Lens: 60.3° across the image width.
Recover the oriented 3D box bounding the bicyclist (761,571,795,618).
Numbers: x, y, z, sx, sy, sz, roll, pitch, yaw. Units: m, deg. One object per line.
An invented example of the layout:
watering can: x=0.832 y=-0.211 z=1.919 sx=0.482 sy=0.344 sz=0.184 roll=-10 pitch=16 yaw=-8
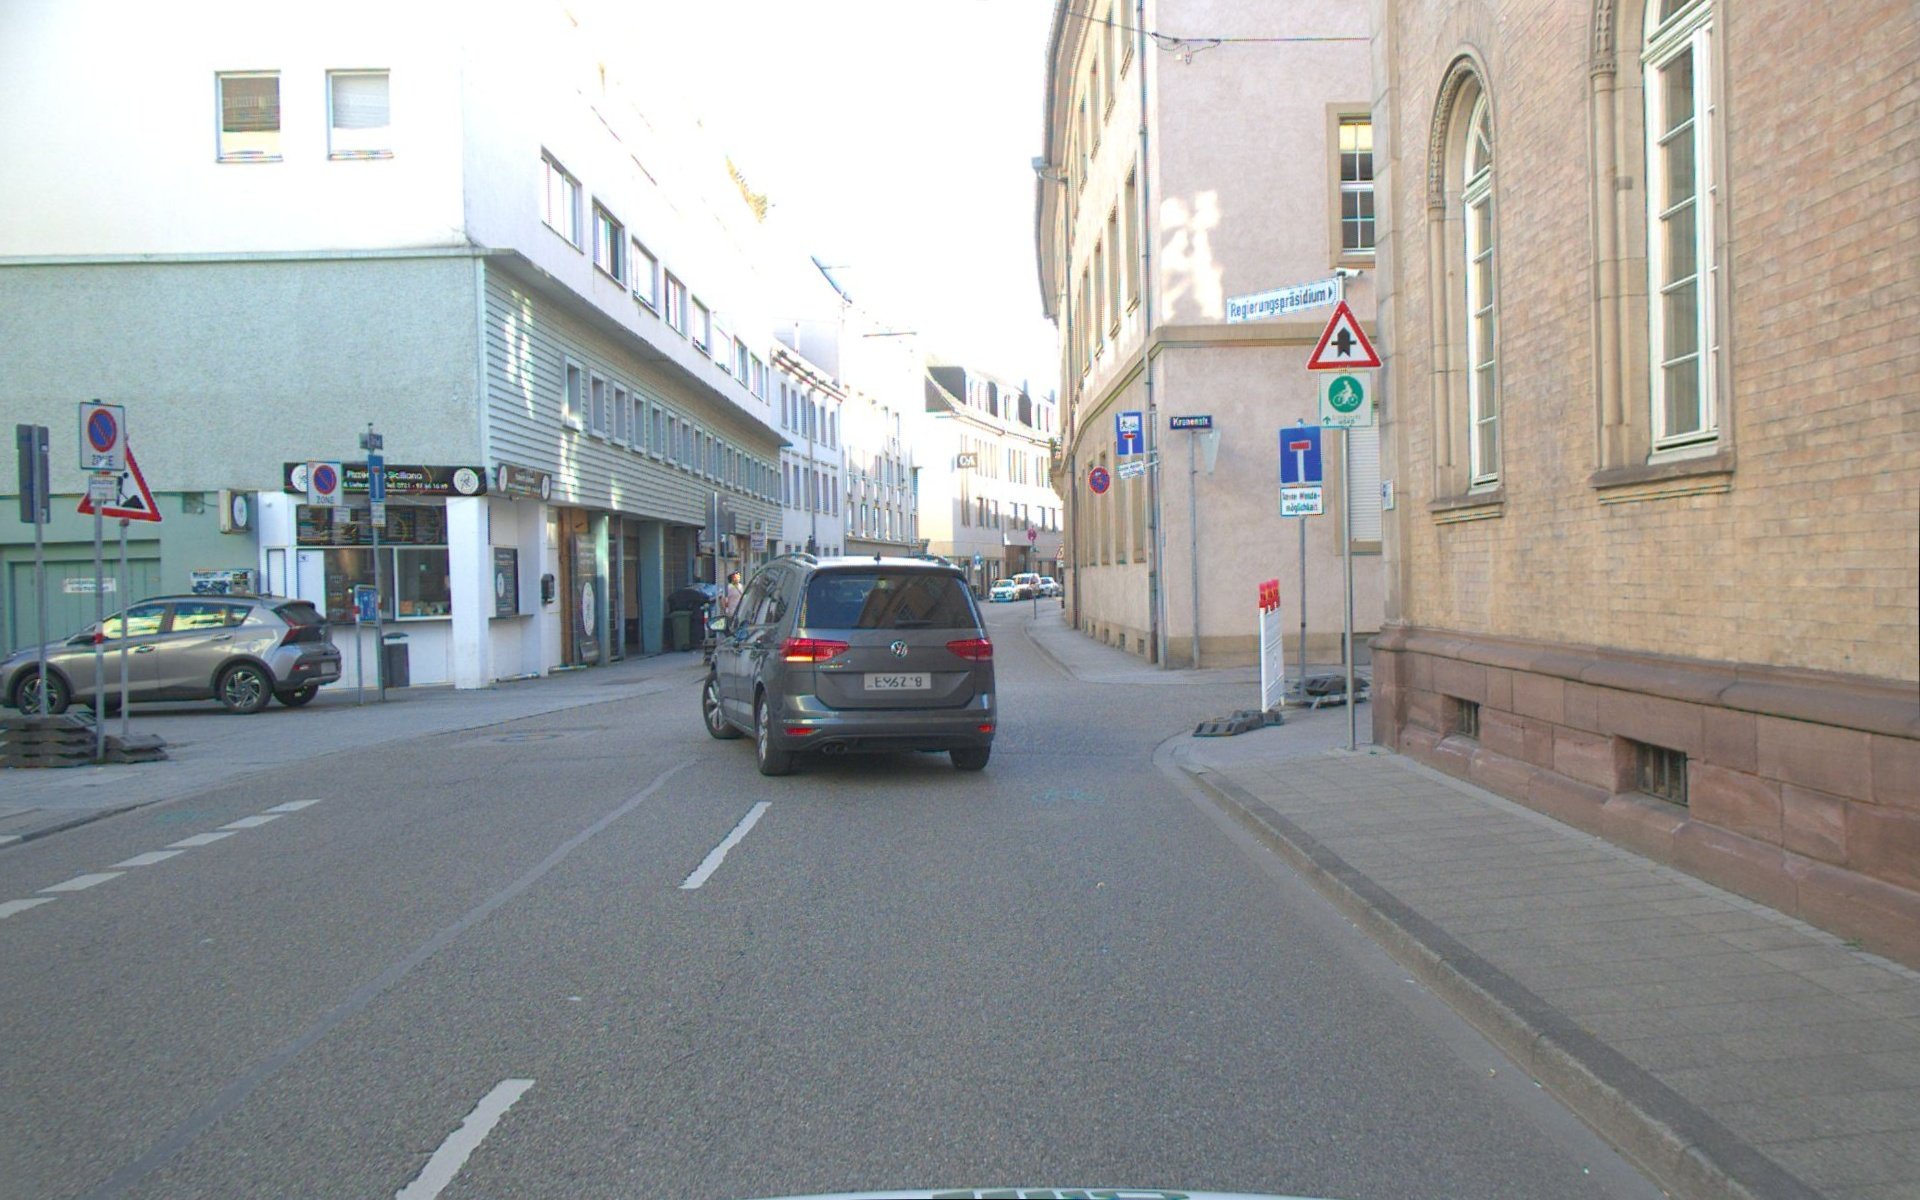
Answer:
bicyclist: x=-6.193 y=-0.179 z=56.280 sx=0.743 sy=1.589 sz=0.831 roll=-1 pitch=1 yaw=33

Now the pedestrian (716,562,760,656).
pedestrian: x=-4.454 y=0.166 z=33.239 sx=0.544 sy=1.861 sz=0.731 roll=-1 pitch=0 yaw=22

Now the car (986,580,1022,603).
car: x=2.990 y=-0.608 z=112.141 sx=1.697 sy=1.493 sz=4.004 roll=-1 pitch=1 yaw=13

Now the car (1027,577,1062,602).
car: x=6.367 y=-0.794 z=124.239 sx=1.787 sy=1.756 sz=4.003 roll=-1 pitch=1 yaw=16

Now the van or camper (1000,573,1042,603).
van or camper: x=4.384 y=-0.865 z=117.904 sx=1.951 sy=2.049 sz=5.003 roll=-1 pitch=1 yaw=15

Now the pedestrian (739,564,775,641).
pedestrian: x=-4.975 y=0.065 z=40.550 sx=0.544 sy=1.861 sz=0.731 roll=-1 pitch=0 yaw=22

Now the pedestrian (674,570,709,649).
pedestrian: x=-6.393 y=0.220 z=39.390 sx=0.713 sy=1.861 sz=0.557 roll=-1 pitch=0 yaw=-2

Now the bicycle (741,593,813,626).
bicycle: x=-6.244 y=0.329 z=56.322 sx=2.496 sy=1.072 sz=0.831 roll=0 pitch=1 yaw=33

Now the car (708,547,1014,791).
car: x=-0.965 y=0.436 z=13.514 sx=1.733 sy=1.635 sz=3.985 roll=-2 pitch=1 yaw=-15

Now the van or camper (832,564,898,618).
van or camper: x=-3.726 y=-0.377 z=65.549 sx=1.951 sy=2.049 sz=4.486 roll=-1 pitch=1 yaw=5

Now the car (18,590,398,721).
car: x=-9.717 y=0.690 z=21.625 sx=4.014 sy=1.468 sz=1.948 roll=-2 pitch=1 yaw=0

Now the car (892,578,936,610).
car: x=-2.254 y=-0.338 z=81.767 sx=1.826 sy=1.494 sz=3.836 roll=-1 pitch=1 yaw=4
